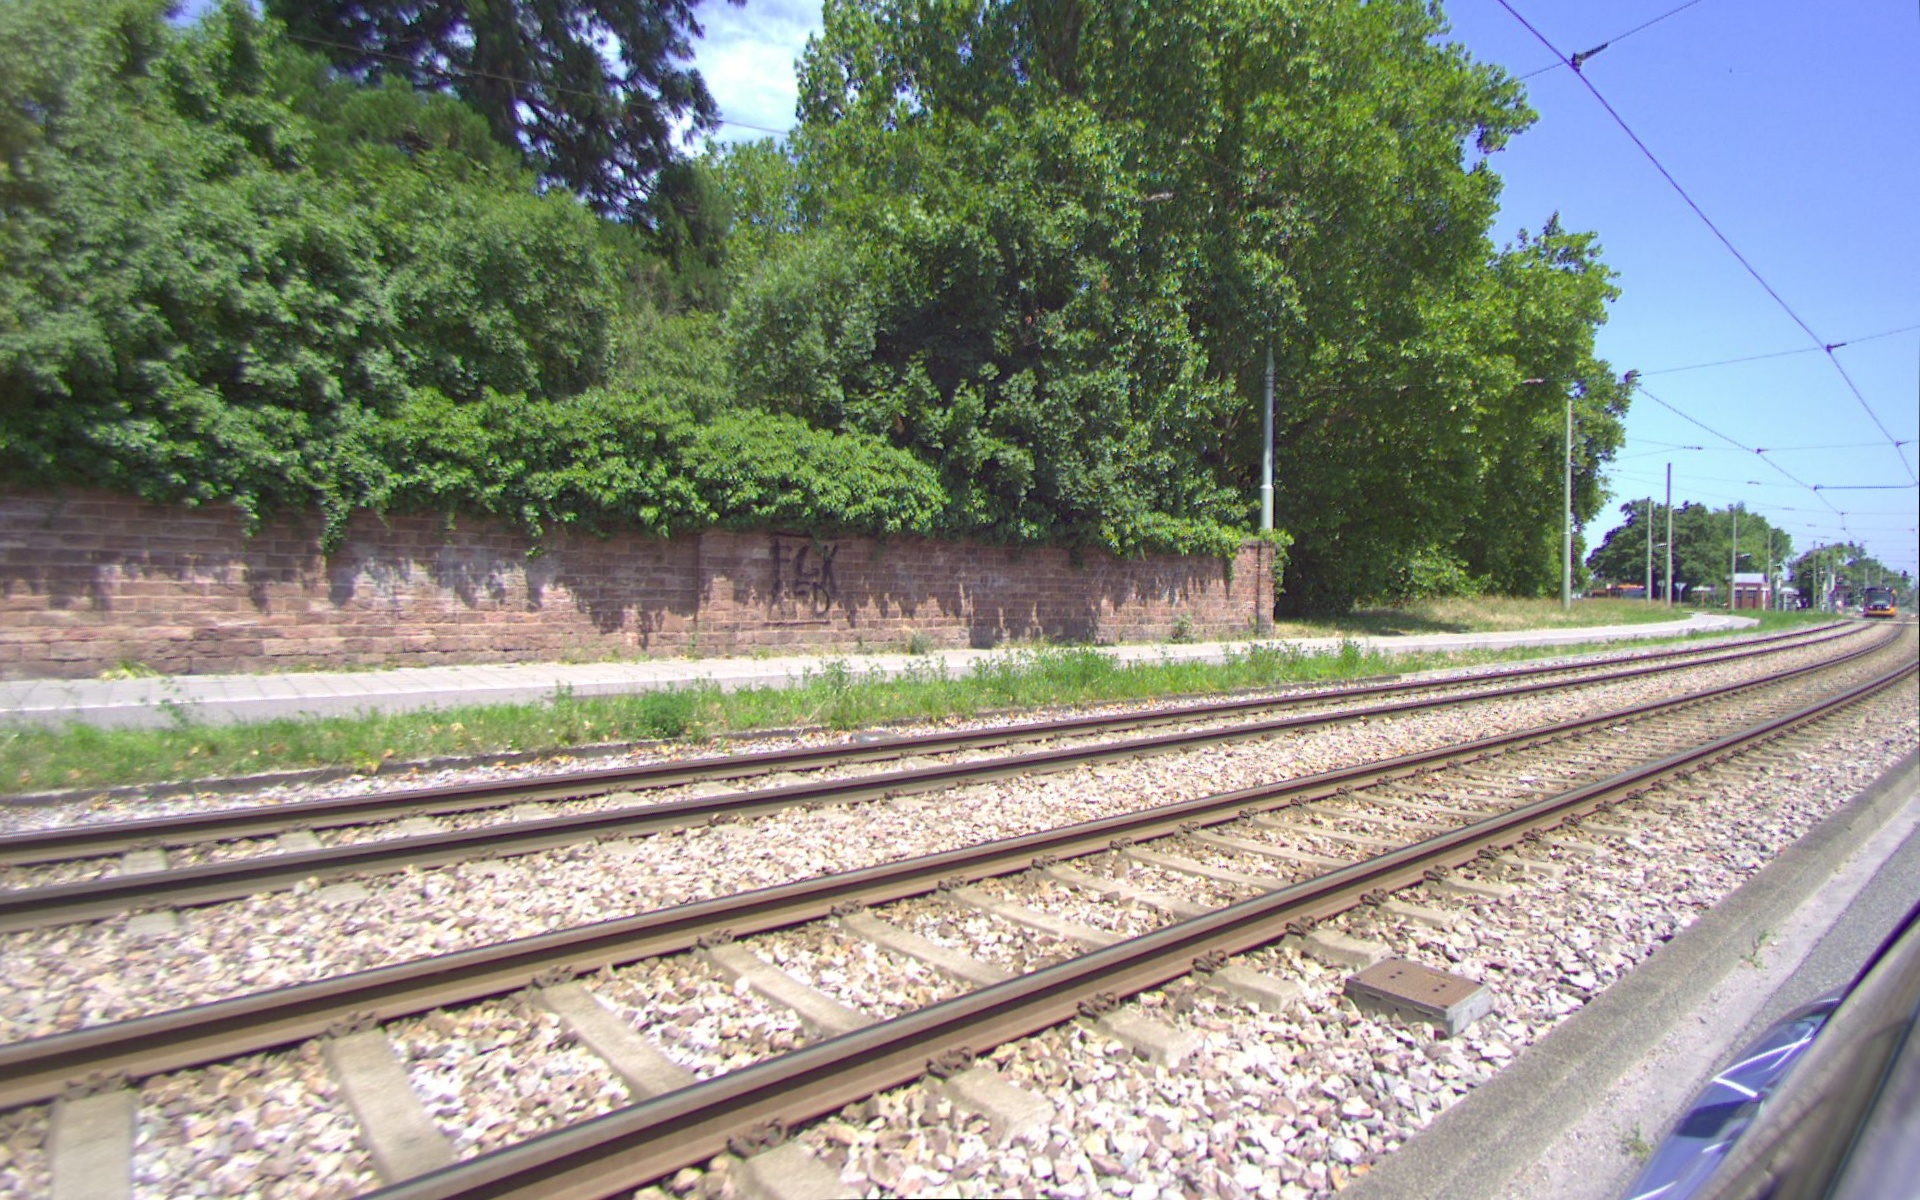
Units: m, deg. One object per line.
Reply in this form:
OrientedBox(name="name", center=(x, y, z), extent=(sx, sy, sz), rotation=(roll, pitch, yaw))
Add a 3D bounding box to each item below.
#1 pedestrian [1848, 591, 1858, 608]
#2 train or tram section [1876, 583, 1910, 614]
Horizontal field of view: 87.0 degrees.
OrientedBox(name="pedestrian", center=(94.374, -0.007, 106.906), extent=(0.631, 1.781, 0.807), rotation=(-1, 0, 31))
OrientedBox(name="train or tram section", center=(106.232, -0.155, 115.194), extent=(7.141, 3.364, 2.520), rotation=(1, 1, -45))
